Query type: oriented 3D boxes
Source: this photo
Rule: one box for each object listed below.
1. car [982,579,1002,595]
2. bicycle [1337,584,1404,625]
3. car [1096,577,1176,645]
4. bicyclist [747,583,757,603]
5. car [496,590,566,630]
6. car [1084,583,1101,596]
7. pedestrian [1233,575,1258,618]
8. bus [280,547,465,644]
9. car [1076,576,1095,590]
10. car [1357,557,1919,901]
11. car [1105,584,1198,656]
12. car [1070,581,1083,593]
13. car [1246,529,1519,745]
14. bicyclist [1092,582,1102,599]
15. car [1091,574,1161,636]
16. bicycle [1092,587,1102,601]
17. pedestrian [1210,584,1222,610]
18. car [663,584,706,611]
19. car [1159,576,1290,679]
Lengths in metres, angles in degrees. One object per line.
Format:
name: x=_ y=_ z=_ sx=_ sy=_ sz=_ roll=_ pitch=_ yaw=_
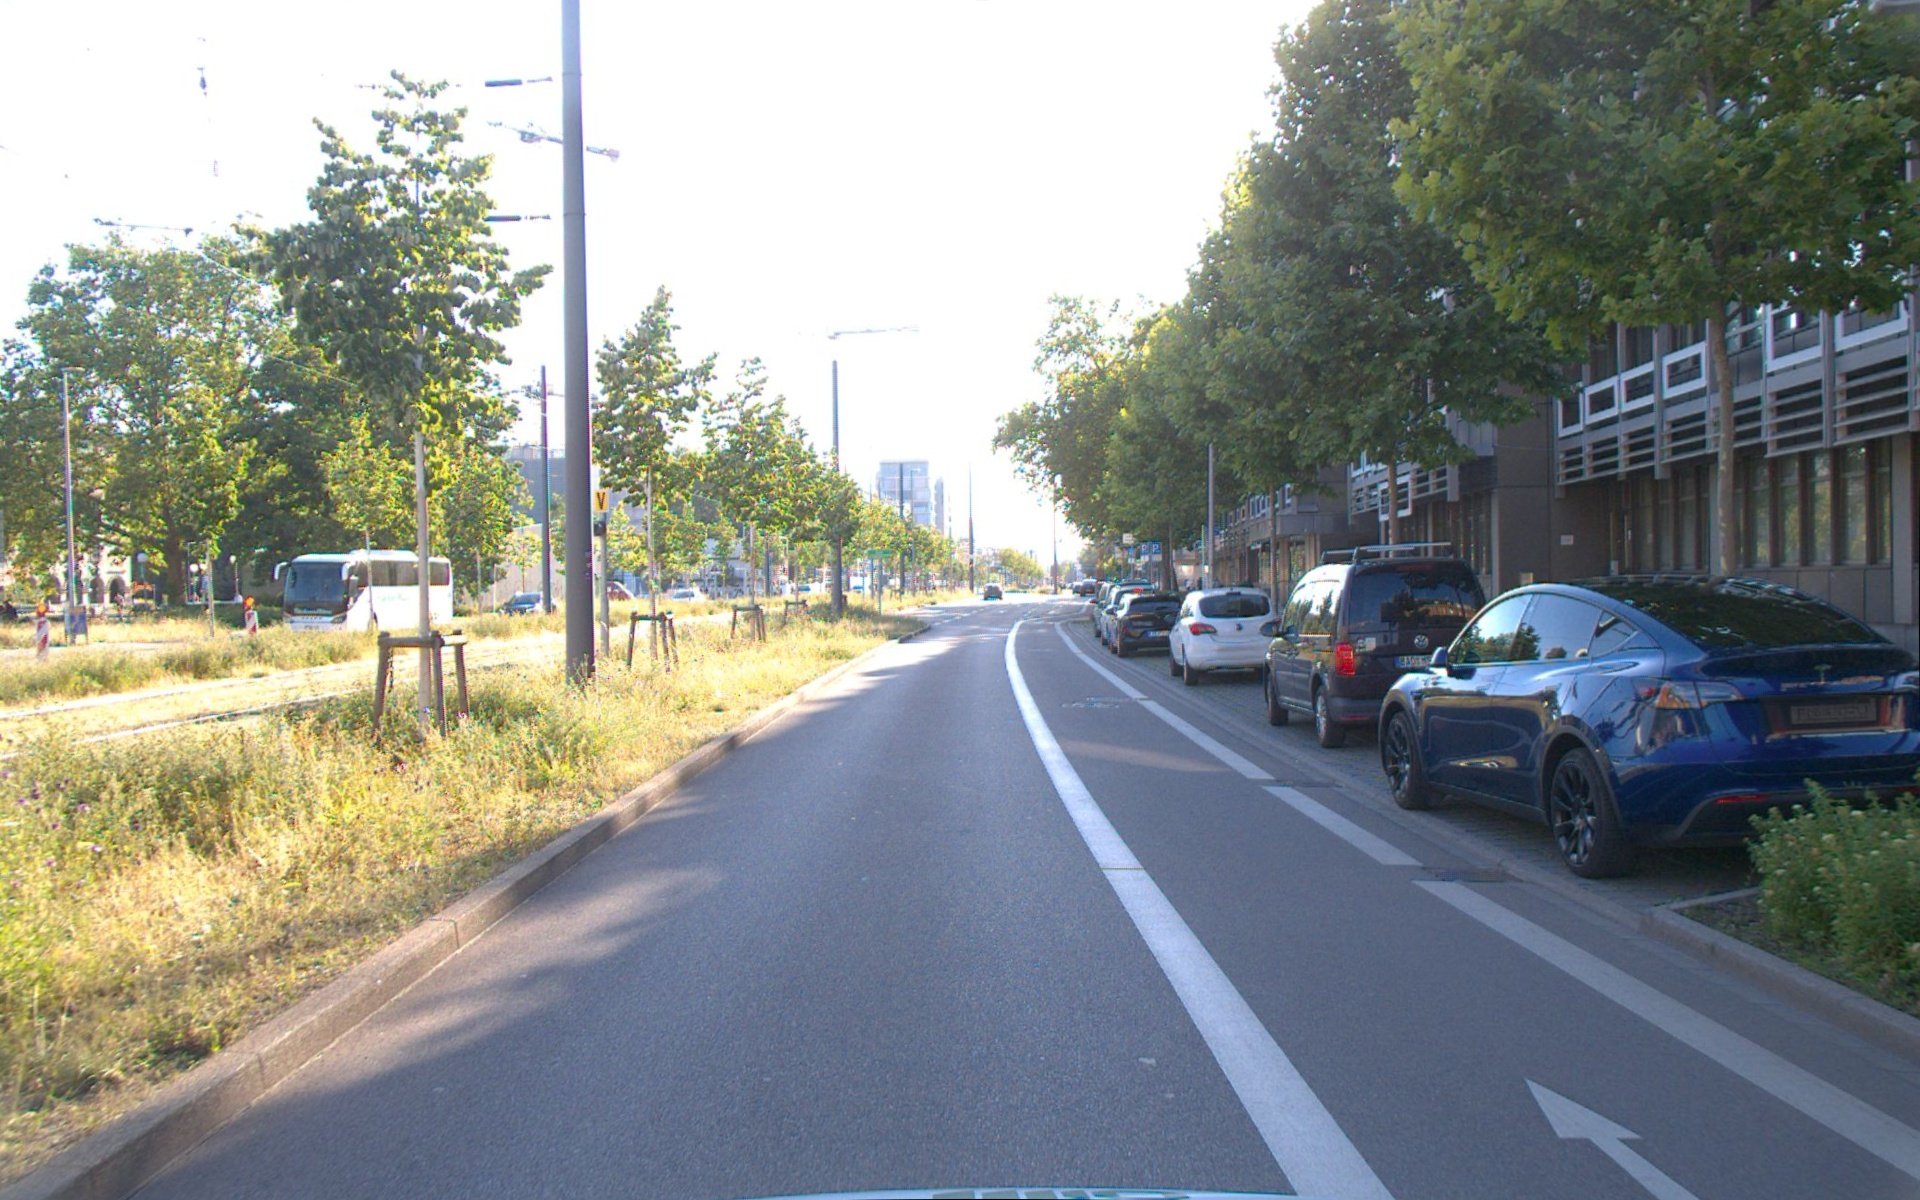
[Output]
car: x=2.954 y=-1.168 z=152.448 sx=1.739 sy=1.453 sz=4.002 roll=0 pitch=1 yaw=3
bicycle: x=12.120 y=0.128 z=48.878 sx=1.862 sy=1.112 sz=0.392 roll=-2 pitch=0 yaw=-4
car: x=4.682 y=0.257 z=44.422 sx=1.692 sy=1.650 sz=4.217 roll=-3 pitch=1 yaw=1
bicyclist: x=-18.239 y=-0.626 z=144.751 sx=0.673 sy=1.737 sz=0.954 roll=-1 pitch=0 yaw=4
car: x=-19.254 y=0.429 z=74.401 sx=1.952 sy=1.680 sz=4.272 roll=-1 pitch=1 yaw=1
car: x=15.656 y=-1.237 z=195.449 sx=1.899 sy=1.510 sz=3.927 roll=-1 pitch=1 yaw=3
pedestrian: x=11.212 y=-0.136 z=64.970 sx=0.773 sy=1.677 sz=1.137 roll=-2 pitch=0 yaw=2
bus: x=-24.230 y=-0.259 z=69.209 sx=2.741 sy=3.657 sz=12.703 roll=-1 pitch=1 yaw=2
car: x=13.622 y=-1.839 z=179.142 sx=1.899 sy=1.453 sz=3.927 roll=-1 pitch=1 yaw=3
car: x=4.239 y=0.611 z=10.623 sx=1.893 sy=1.626 sz=4.695 roll=-3 pitch=1 yaw=-4
car: x=4.417 y=0.431 z=38.762 sx=1.757 sy=1.474 sz=4.378 roll=-3 pitch=1 yaw=2
car: x=15.591 y=-1.747 z=221.523 sx=1.722 sy=1.510 sz=3.851 roll=-1 pitch=1 yaw=3
car: x=4.368 y=0.321 z=17.800 sx=1.699 sy=1.952 sz=4.393 roll=-3 pitch=1 yaw=0
bicyclist: x=12.736 y=-0.889 z=153.884 sx=0.784 sy=1.630 sz=0.785 roll=-1 pitch=1 yaw=-1
car: x=5.016 y=0.125 z=50.357 sx=1.692 sy=1.717 sz=4.515 roll=-3 pitch=1 yaw=1
bicycle: x=12.745 y=-0.562 z=153.964 sx=0.783 sy=1.225 sz=2.264 roll=-1 pitch=1 yaw=0
pedestrian: x=18.844 y=-0.233 z=121.876 sx=0.814 sy=1.888 sz=0.847 roll=-1 pitch=0 yaw=4
car: x=-18.009 y=-0.195 z=108.392 sx=1.952 sy=1.671 sz=4.168 roll=-1 pitch=1 yaw=2
car: x=4.361 y=0.394 z=27.764 sx=1.629 sy=1.515 sz=4.205 roll=-3 pitch=1 yaw=2
